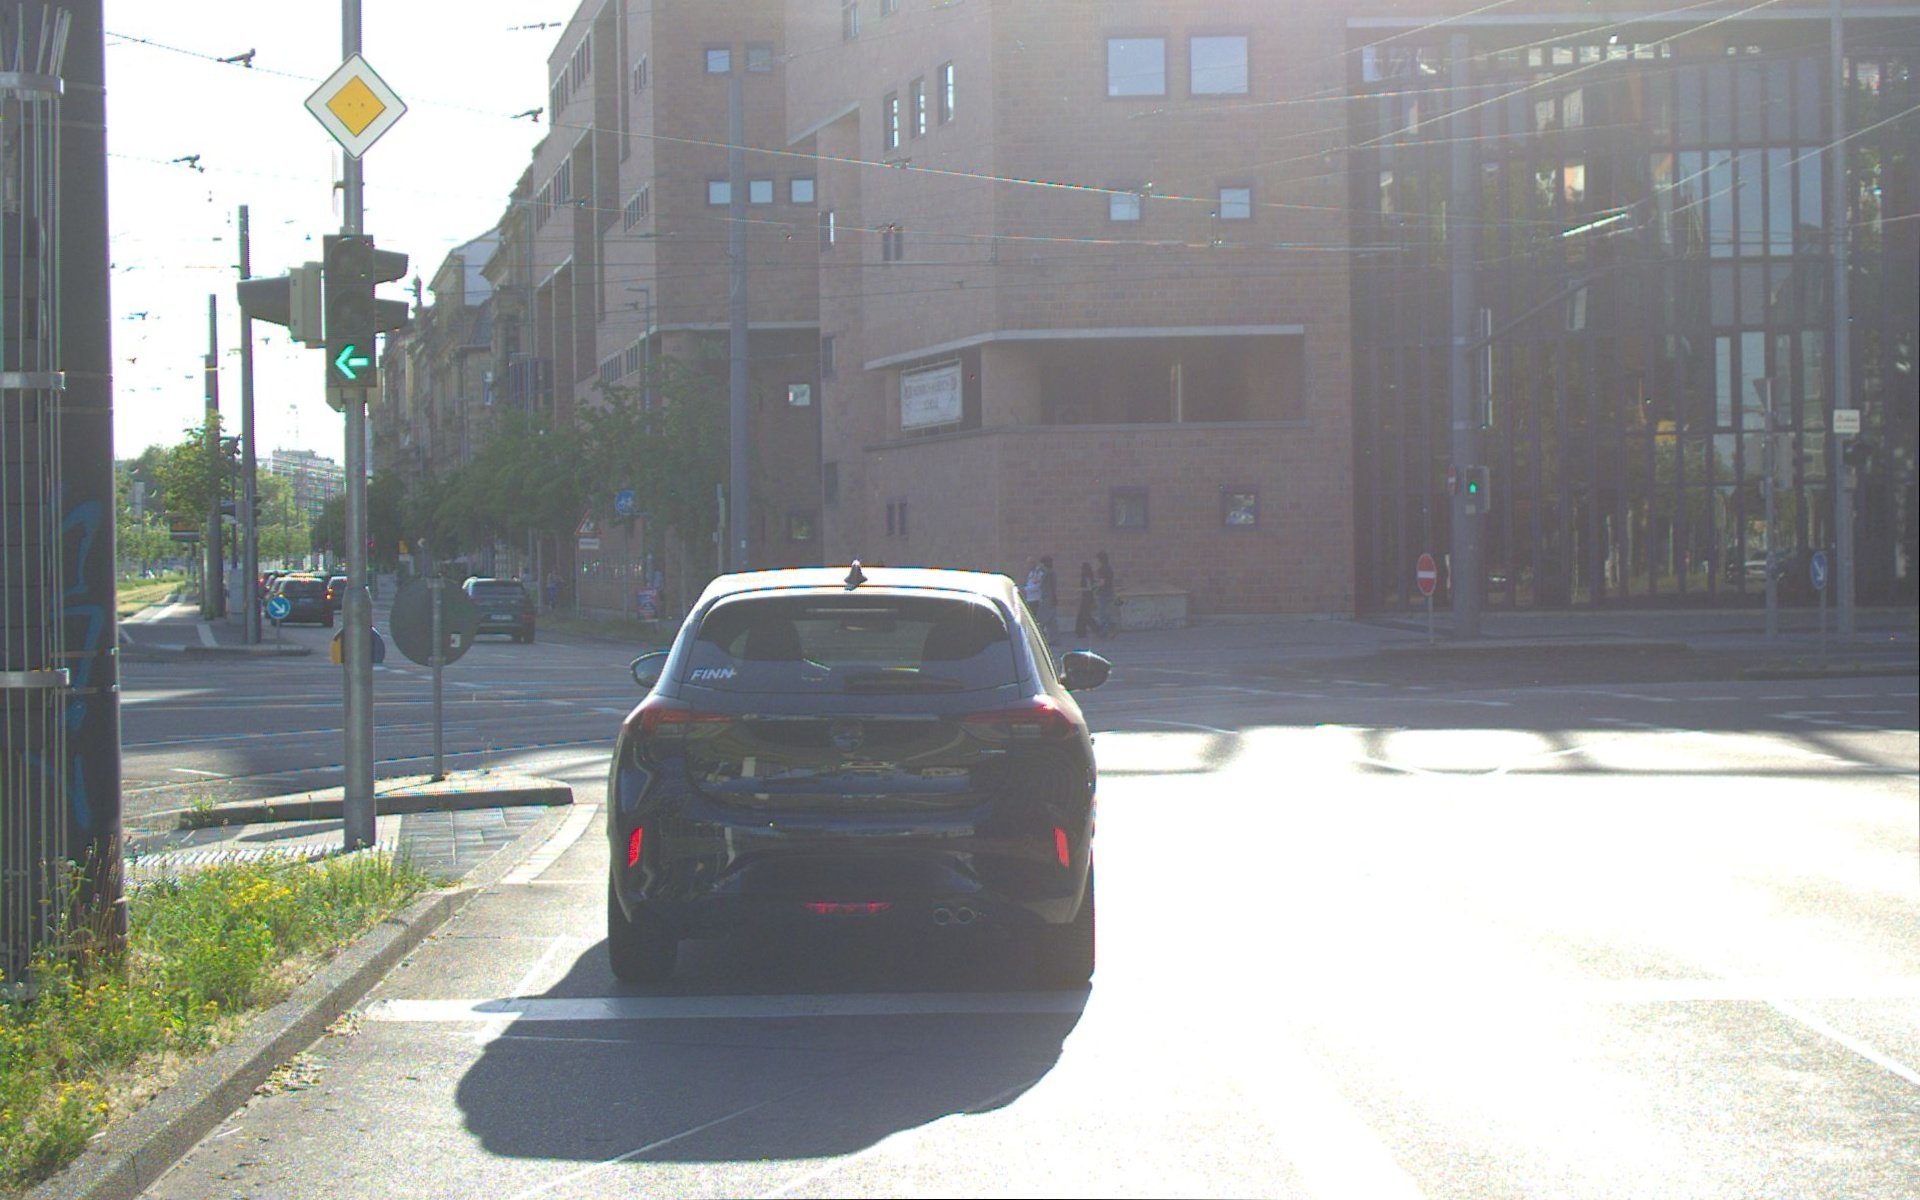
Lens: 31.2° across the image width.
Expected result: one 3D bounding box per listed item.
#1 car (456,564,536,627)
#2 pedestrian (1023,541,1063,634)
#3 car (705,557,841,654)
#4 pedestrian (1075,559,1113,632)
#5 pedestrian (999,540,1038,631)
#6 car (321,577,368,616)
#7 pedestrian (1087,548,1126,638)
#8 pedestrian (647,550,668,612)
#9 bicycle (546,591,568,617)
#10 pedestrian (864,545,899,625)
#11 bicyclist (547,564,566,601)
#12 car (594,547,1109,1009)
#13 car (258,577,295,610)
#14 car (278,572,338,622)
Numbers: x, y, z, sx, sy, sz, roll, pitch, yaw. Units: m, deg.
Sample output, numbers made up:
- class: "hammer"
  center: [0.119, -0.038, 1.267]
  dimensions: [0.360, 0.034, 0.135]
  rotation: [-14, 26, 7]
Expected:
- class: "car"
  center: [-11.330, -0.136, 83.788]
  dimensions: [1.670, 1.448, 3.699]
  rotation: [-2, 1, -11]
- class: "pedestrian"
  center: [1.619, -0.249, 67.187]
  dimensions: [0.571, 1.780, 0.549]
  rotation: [-2, 1, -19]
- class: "car"
  center: [-2.969, 0.065, 54.060]
  dimensions: [1.559, 1.451, 3.432]
  rotation: [-1, 1, -13]
- class: "pedestrian"
  center: [2.737, -0.098, 70.301]
  dimensions: [0.547, 1.472, 0.573]
  rotation: [-2, 2, -29]
- class: "pedestrian"
  center: [1.156, -0.288, 67.722]
  dimensions: [0.571, 1.780, 0.549]
  rotation: [-2, 1, -19]
- class: "car"
  center: [-24.435, -0.154, 136.400]
  dimensions: [1.720, 1.448, 3.699]
  rotation: [-2, 1, -11]
- class: "pedestrian"
  center: [2.934, -0.150, 68.944]
  dimensions: [0.571, 1.780, 0.549]
  rotation: [-2, 1, -19]
- class: "pedestrian"
  center: [-8.785, -0.558, 99.833]
  dimensions: [0.547, 1.780, 0.573]
  rotation: [-1, 3, -8]
- class: "bicycle"
  center: [-14.728, 0.139, 125.562]
  dimensions: [0.648, 0.901, 2.346]
  rotation: [-1, 1, -10]
- class: "pedestrian"
  center: [-1.776, -0.338, 77.714]
  dimensions: [0.640, 1.780, 0.688]
  rotation: [-2, 1, -8]
- class: "bicyclist"
  center: [-14.754, -0.649, 125.641]
  dimensions: [0.645, 1.335, 0.653]
  rotation: [-1, 1, -10]
- class: "car"
  center: [-0.377, 0.557, 13.105]
  dimensions: [1.672, 1.496, 3.691]
  rotation: [1, 1, -1]
- class: "car"
  center: [-31.494, -0.289, 158.384]
  dimensions: [1.514, 1.448, 3.585]
  rotation: [-2, 1, -13]
- class: "car"
  center: [-19.853, -0.109, 104.594]
  dimensions: [1.720, 1.448, 3.699]
  rotation: [-2, 1, -11]
